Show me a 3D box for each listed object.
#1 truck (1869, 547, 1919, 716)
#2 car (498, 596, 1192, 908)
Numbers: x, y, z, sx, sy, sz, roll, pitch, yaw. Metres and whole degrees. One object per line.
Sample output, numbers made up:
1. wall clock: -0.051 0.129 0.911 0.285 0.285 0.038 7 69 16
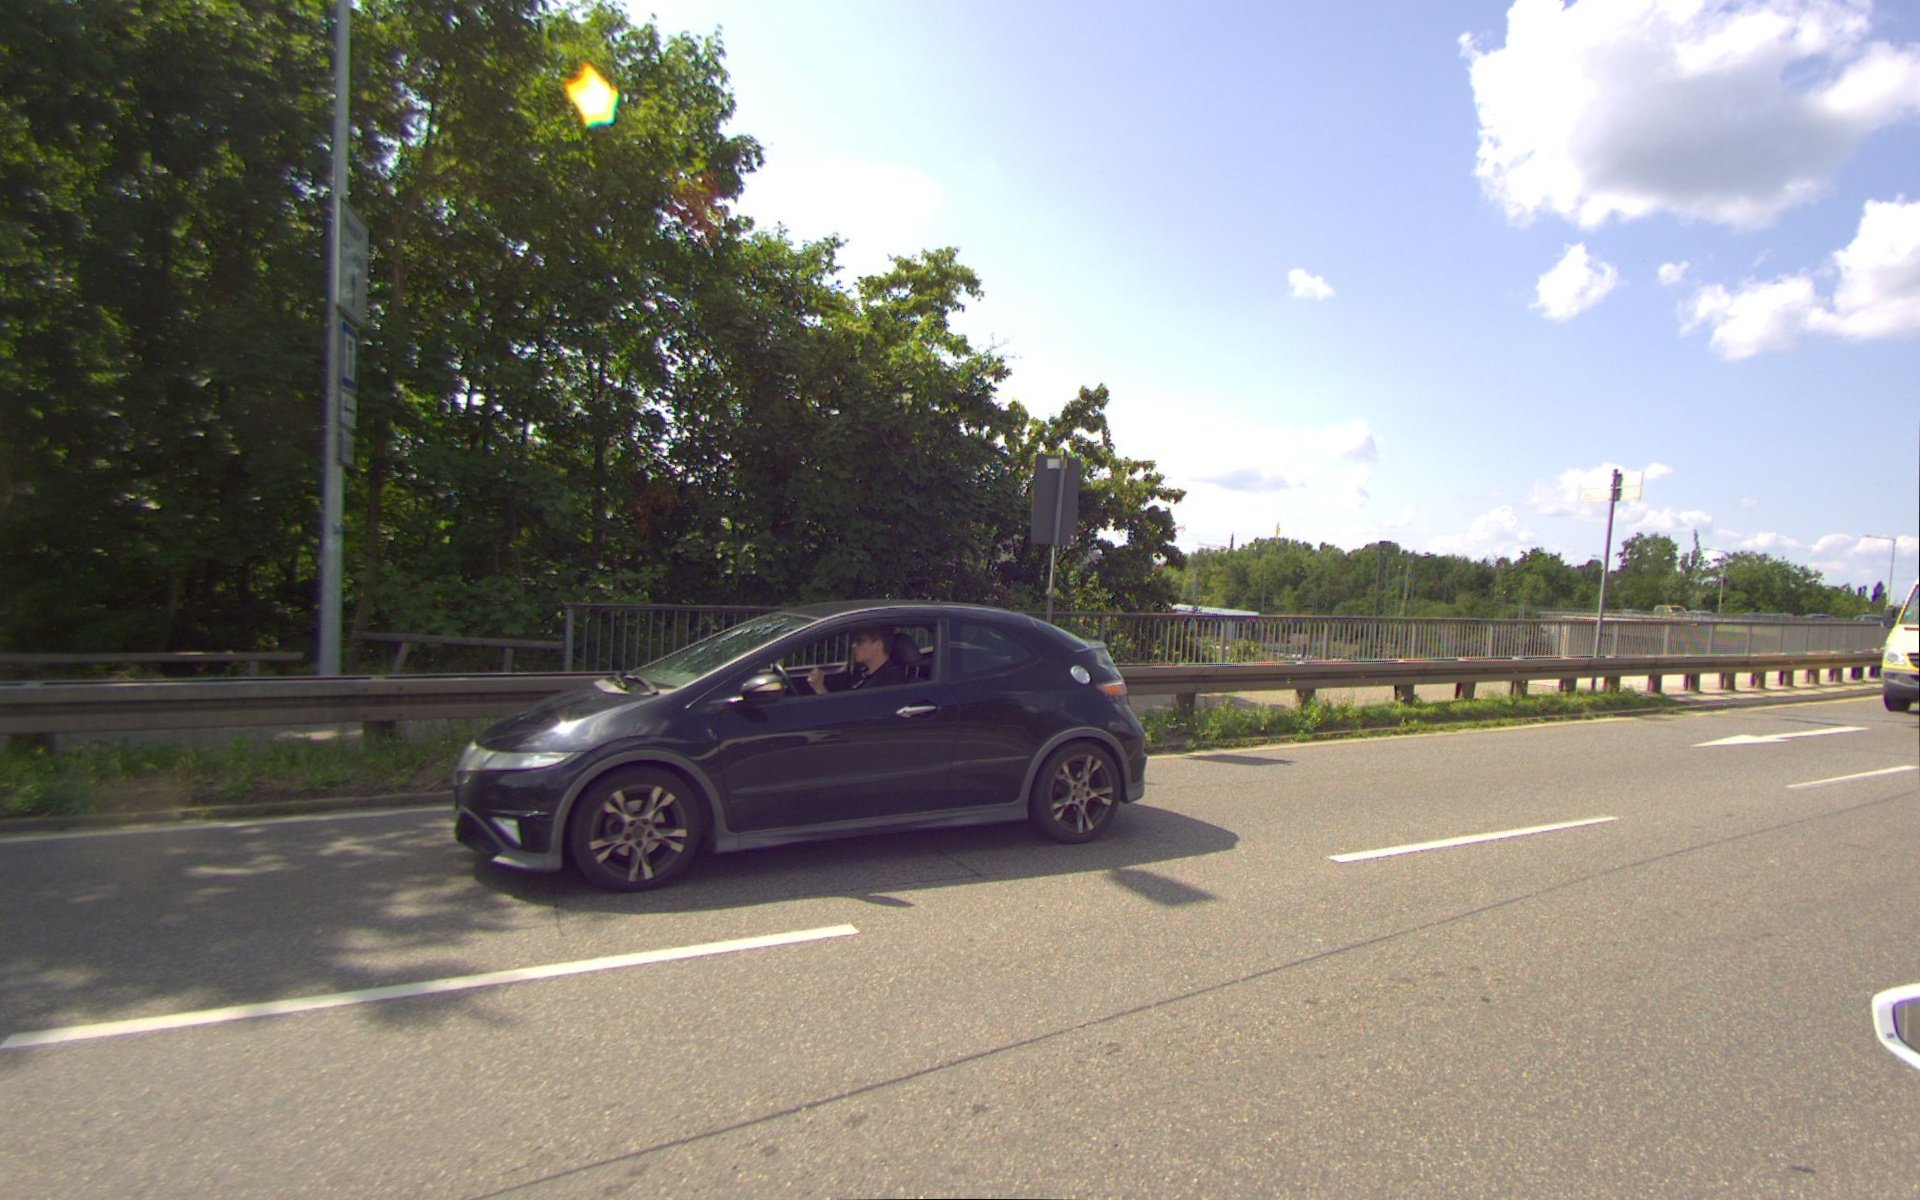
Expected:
1. truck: 17.753 0.535 17.143 6.041 2.656 1.981 1 -1 -35
2. car: -0.680 0.734 6.315 3.955 1.408 1.791 1 0 -28
